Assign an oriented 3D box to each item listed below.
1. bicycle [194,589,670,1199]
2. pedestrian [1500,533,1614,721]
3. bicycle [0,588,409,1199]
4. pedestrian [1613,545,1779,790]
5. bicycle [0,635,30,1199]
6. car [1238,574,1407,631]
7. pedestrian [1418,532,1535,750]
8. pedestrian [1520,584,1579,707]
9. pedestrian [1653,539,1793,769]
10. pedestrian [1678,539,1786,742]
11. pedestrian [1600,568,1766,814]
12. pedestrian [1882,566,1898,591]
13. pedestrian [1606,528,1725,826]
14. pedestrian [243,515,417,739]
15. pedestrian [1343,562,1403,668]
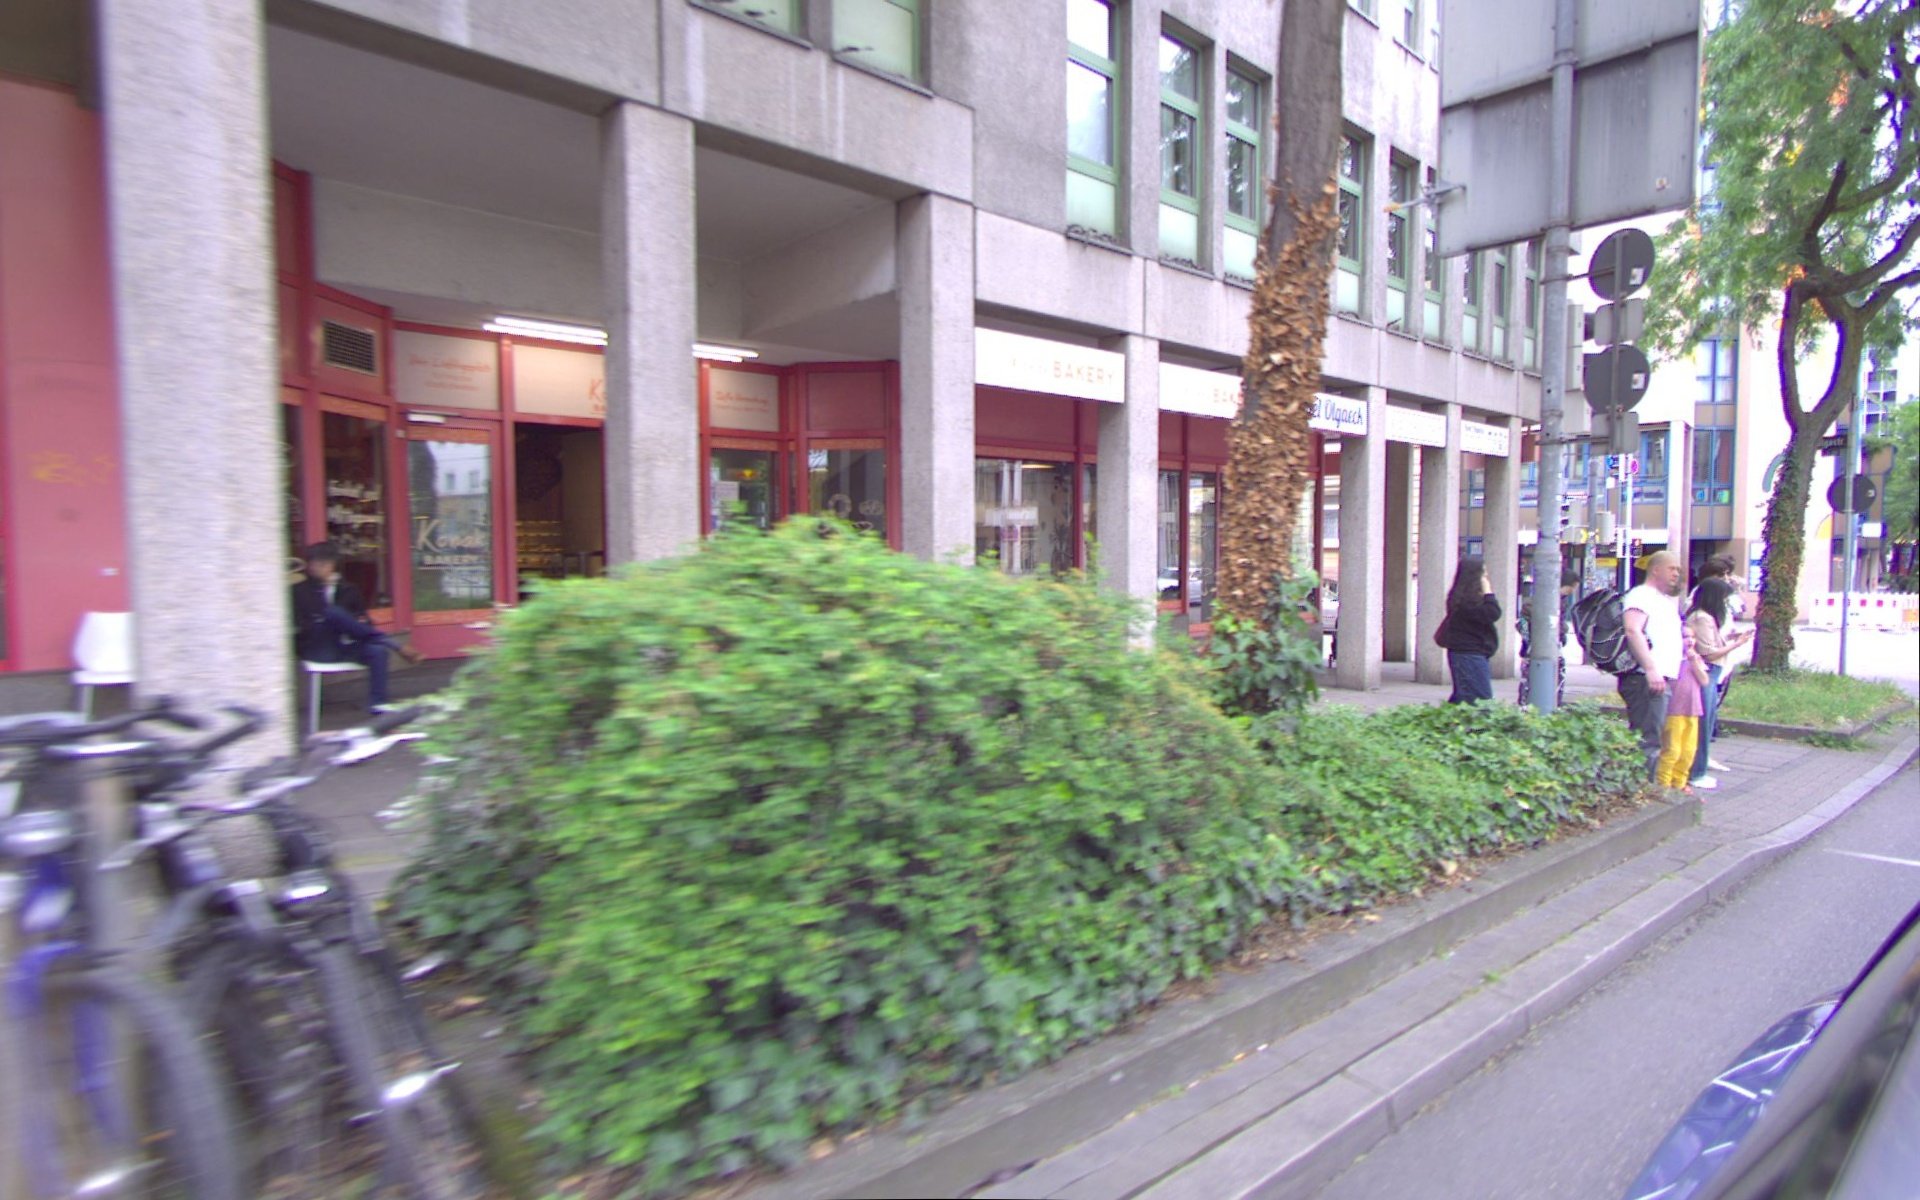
[{"bbox_3d":[-1.355,0.624,2.401,1.707,1.198,0.442,5,4,42],"label":"bicycle"},{"bbox_3d":[6.145,0.256,10.417,0.722,1.825,0.821,5,2,45],"label":"pedestrian"},{"bbox_3d":[-1.710,0.625,2.121,1.707,1.198,0.442,5,4,42],"label":"bicycle"},{"bbox_3d":[5.624,0.462,7.737,0.752,1.724,0.836,-1,4,-45],"label":"pedestrian"},{"bbox_3d":[-2.060,0.630,1.812,1.707,1.198,0.442,5,4,42],"label":"bicycle"},{"bbox_3d":[10.176,0.011,28.553,4.139,1.446,1.829,2,2,38],"label":"car"},{"bbox_3d":[4.139,0.302,8.098,0.615,1.632,0.754,4,1,38],"label":"pedestrian"},{"bbox_3d":[6.738,0.503,11.566,0.511,1.350,0.471,-2,1,-45],"label":"pedestrian"},{"bbox_3d":[6.440,0.413,8.546,0.678,1.798,0.694,-1,7,-45],"label":"pedestrian"},{"bbox_3d":[7.596,0.358,9.957,0.722,1.897,0.734,-2,2,-45],"label":"pedestrian"},{"bbox_3d":[5.043,0.574,7.068,0.752,1.582,0.836,-2,1,-45],"label":"pedestrian"},{"bbox_3d":[67.018,-1.554,72.935,0.675,1.732,0.711,0,1,-41],"label":"pedestrian"},{"bbox_3d":[4.607,0.455,6.601,0.518,1.811,0.752,0,1,45],"label":"pedestrian"},{"bbox_3d":[-4.298,0.135,6.885,1.056,1.380,0.745,5,3,43],"label":"pedestrian"},{"bbox_3d":[7.038,0.247,17.213,0.848,1.735,1.115,0,-1,27],"label":"pedestrian"}]
